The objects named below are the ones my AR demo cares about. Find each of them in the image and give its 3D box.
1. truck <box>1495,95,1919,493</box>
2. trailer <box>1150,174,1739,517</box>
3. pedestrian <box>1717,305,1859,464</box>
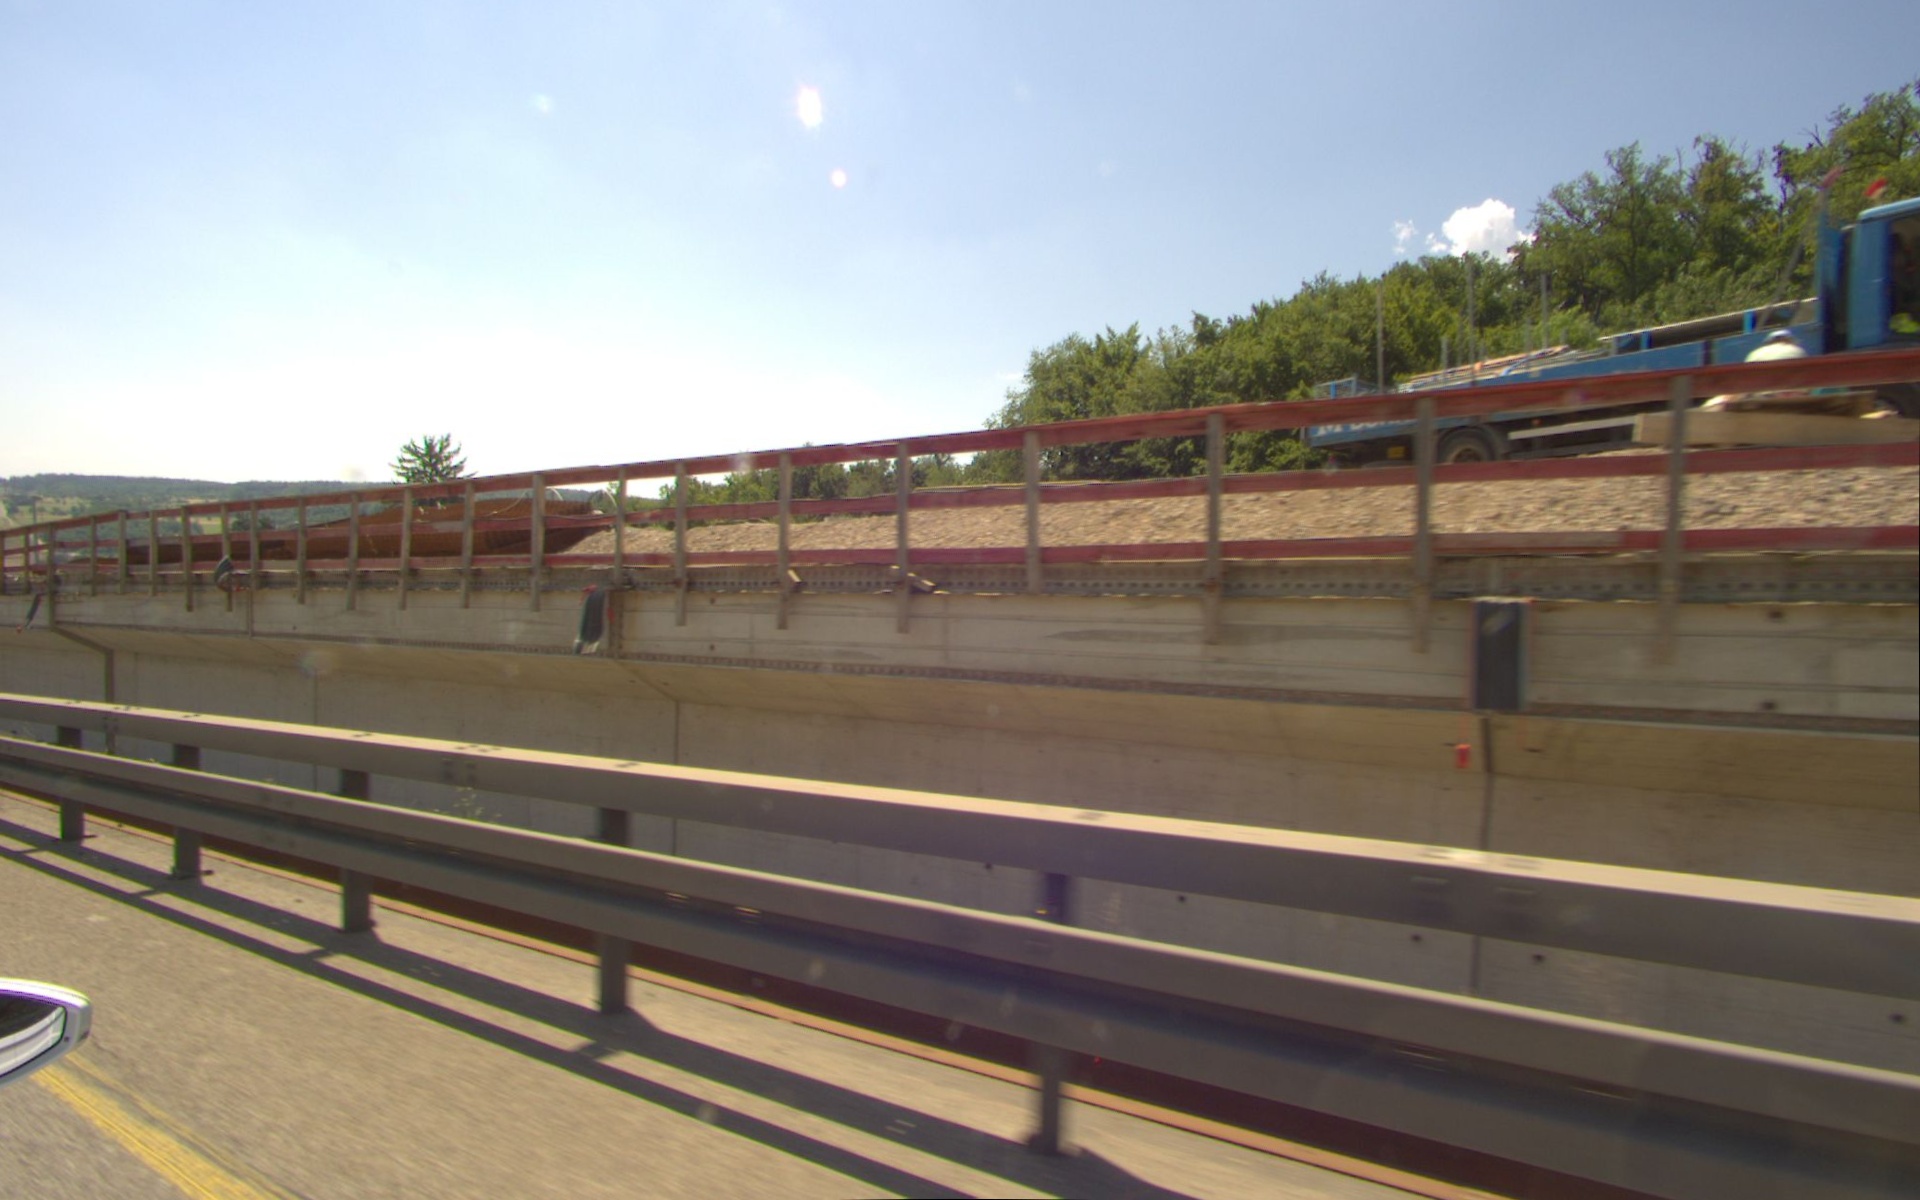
[{"bbox_3d":[10.485,-3.557,12.891,2.685,3.744,5.671,1,1,-34],"label":"truck"},{"bbox_3d":[7.487,-3.629,17.292,2.685,3.744,8.933,1,1,-34],"label":"trailer"},{"bbox_3d":[7.904,-2.011,9.615,0.982,1.165,1.016,-2,-2,38],"label":"pedestrian"}]
